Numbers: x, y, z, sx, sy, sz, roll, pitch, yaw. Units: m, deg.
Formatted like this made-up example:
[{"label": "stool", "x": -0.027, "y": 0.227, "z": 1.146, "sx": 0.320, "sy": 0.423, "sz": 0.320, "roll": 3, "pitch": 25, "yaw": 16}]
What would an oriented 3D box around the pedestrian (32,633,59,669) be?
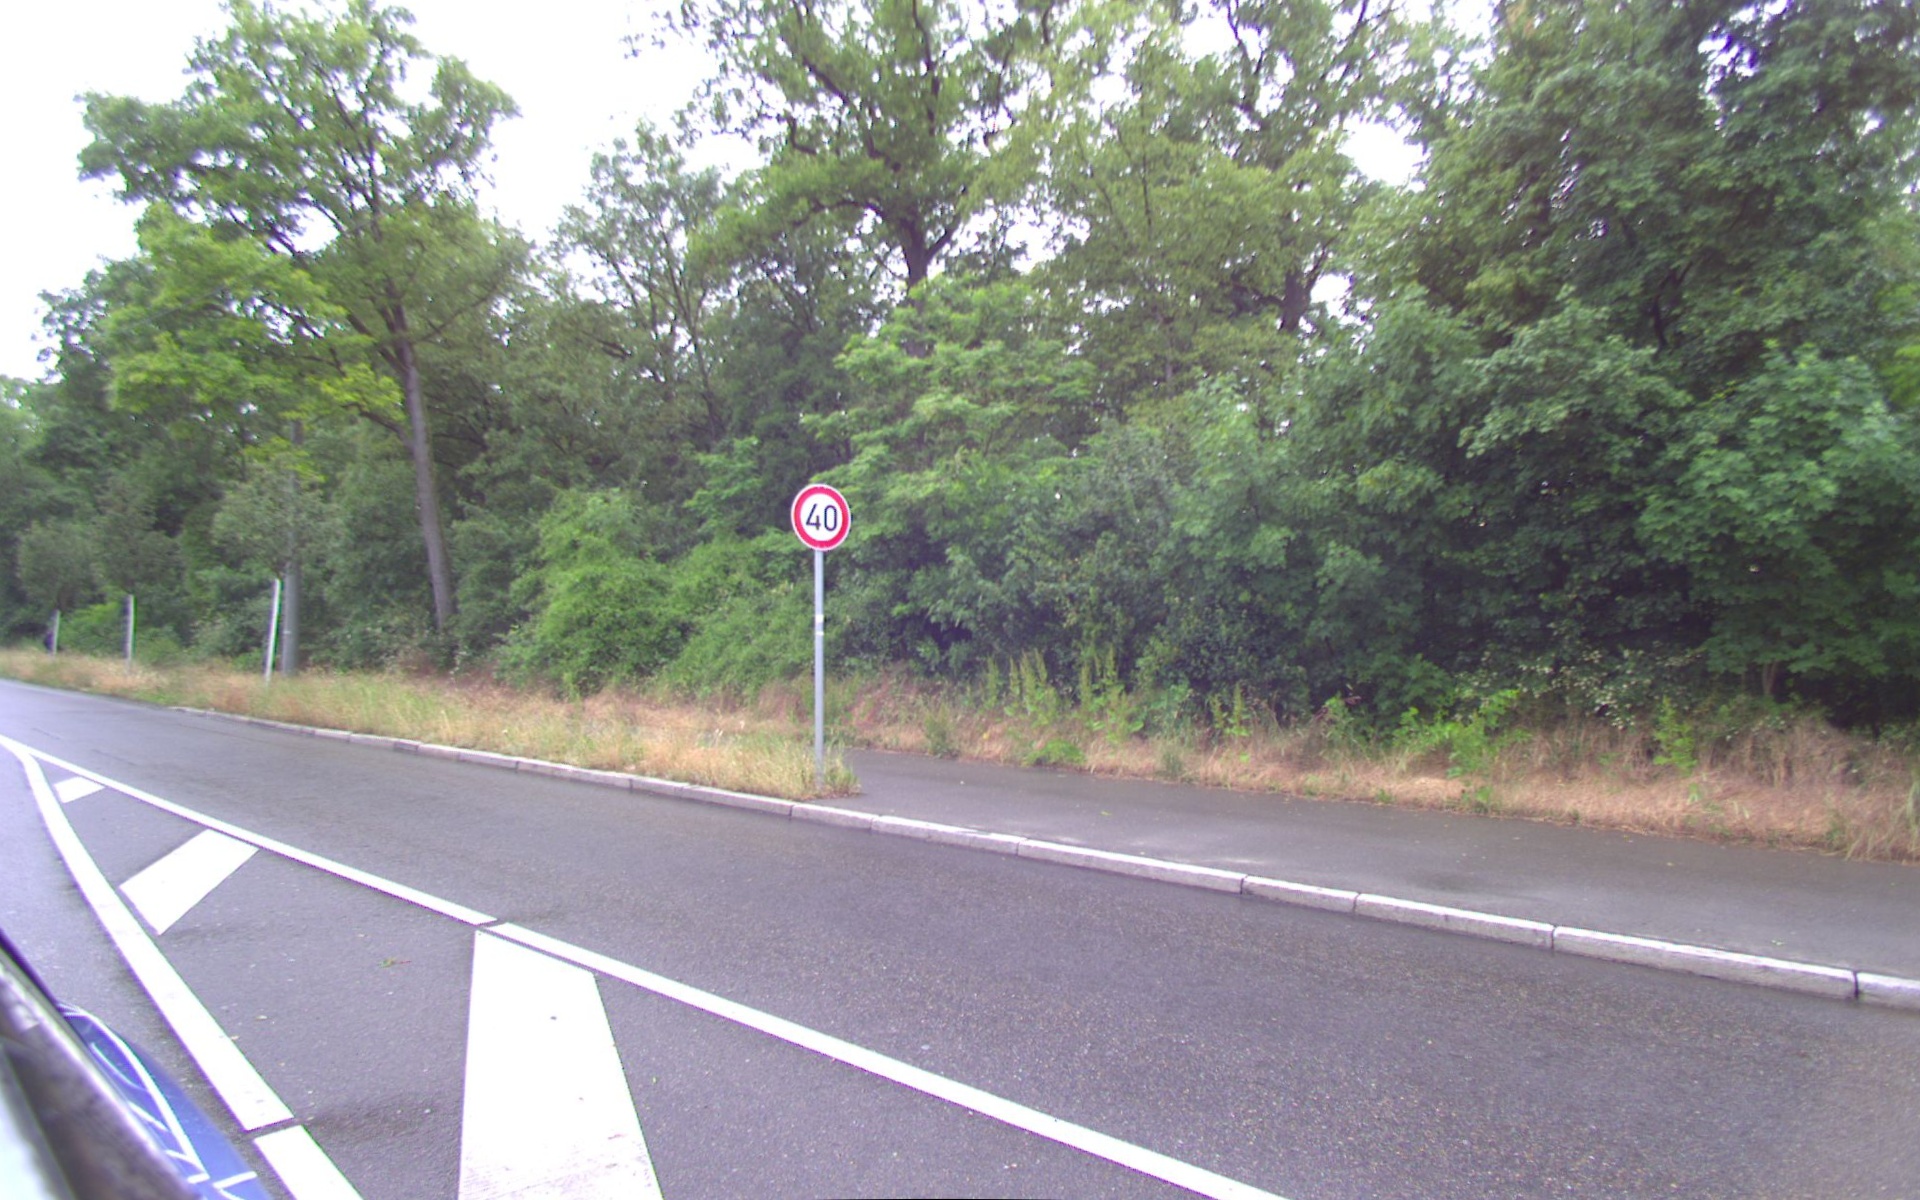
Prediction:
[{"label": "pedestrian", "x": -42.046, "y": 2.351, "z": 46.546, "sx": 0.731, "sy": 1.620, "sz": 0.773, "roll": -2, "pitch": -3, "yaw": 38}]
